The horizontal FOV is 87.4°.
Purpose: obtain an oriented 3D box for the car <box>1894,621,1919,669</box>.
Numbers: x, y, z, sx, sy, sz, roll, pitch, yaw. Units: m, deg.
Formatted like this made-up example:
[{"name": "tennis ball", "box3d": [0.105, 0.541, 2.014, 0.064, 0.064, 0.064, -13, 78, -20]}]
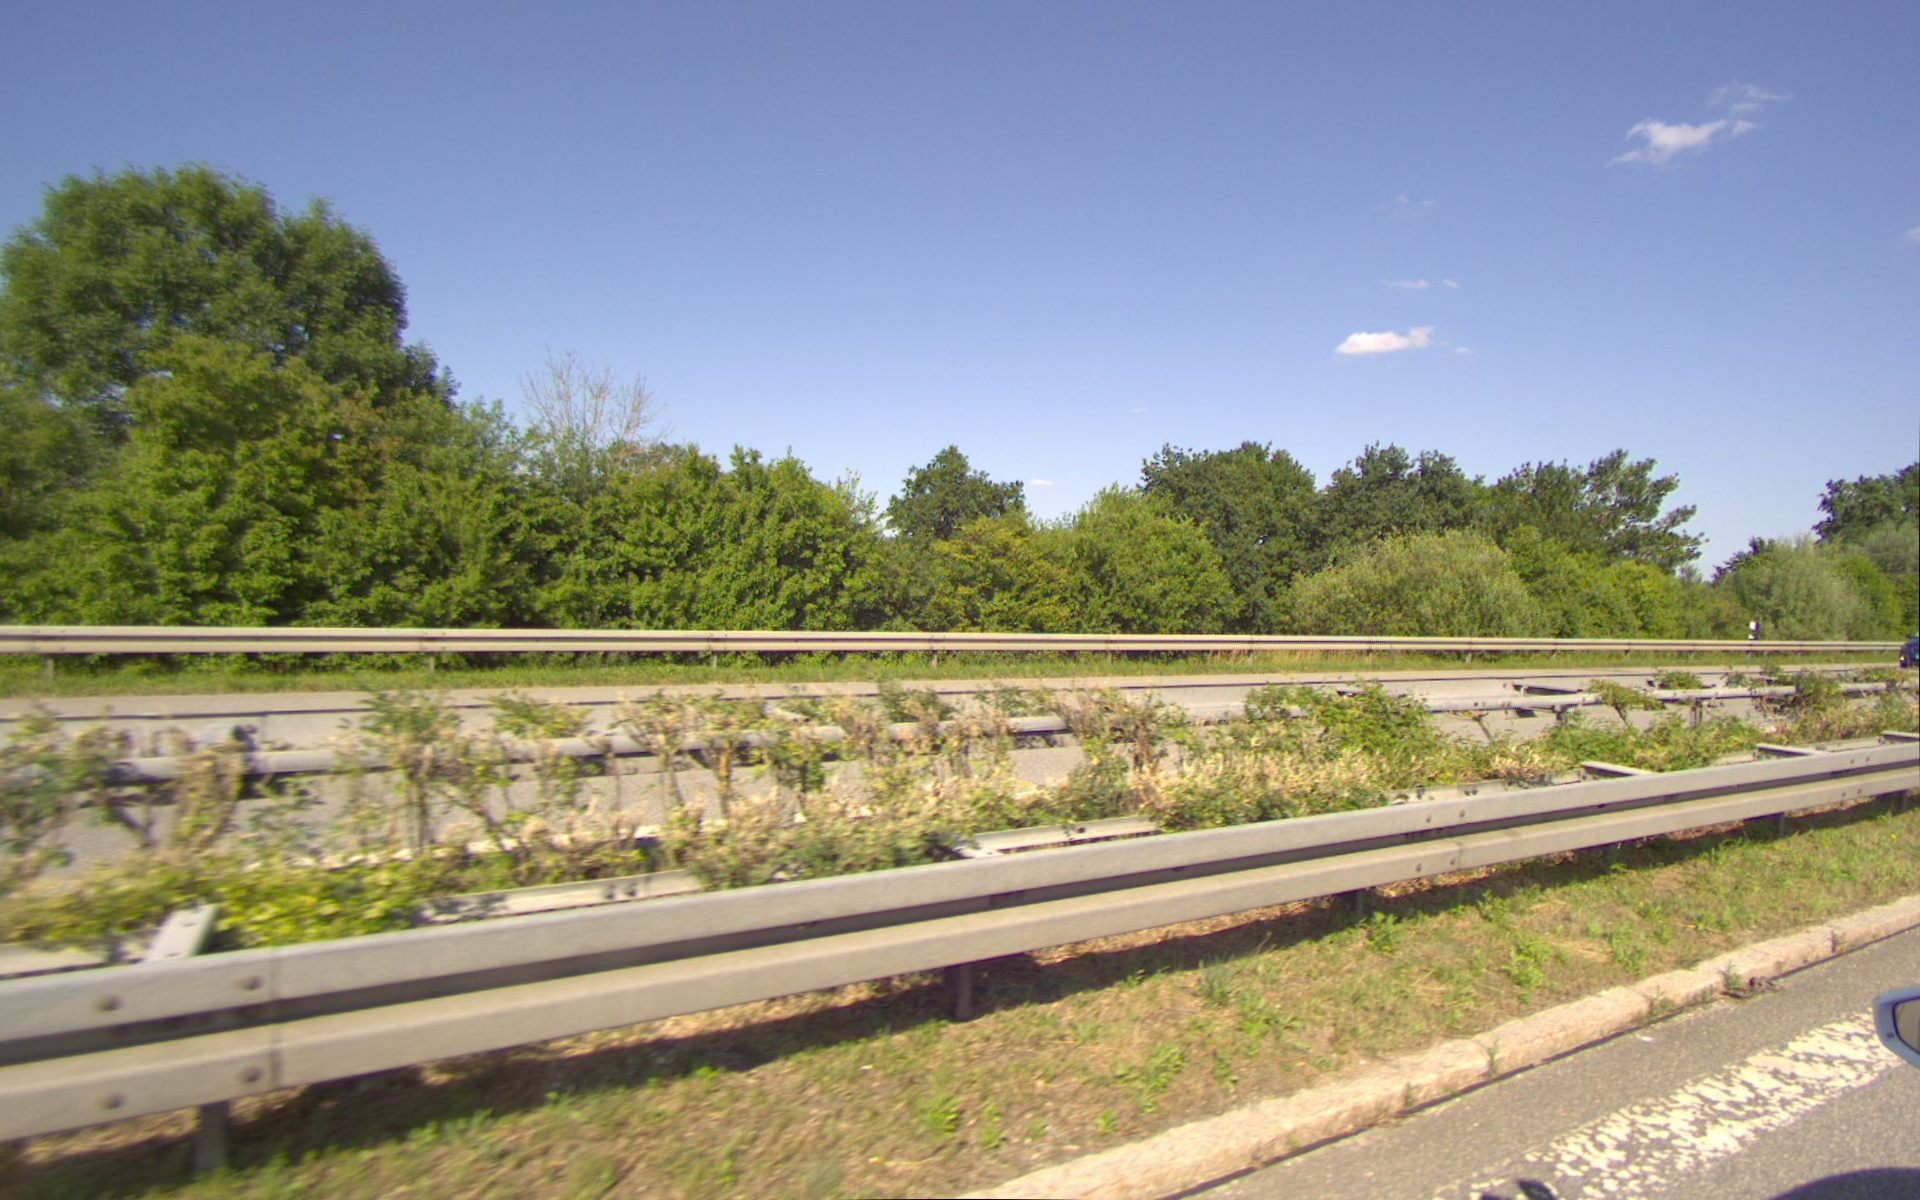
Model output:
[{"name": "car", "box3d": [31.078, 1.428, 31.498, 3.955, 1.460, 1.667, 1, -1, -32]}]
